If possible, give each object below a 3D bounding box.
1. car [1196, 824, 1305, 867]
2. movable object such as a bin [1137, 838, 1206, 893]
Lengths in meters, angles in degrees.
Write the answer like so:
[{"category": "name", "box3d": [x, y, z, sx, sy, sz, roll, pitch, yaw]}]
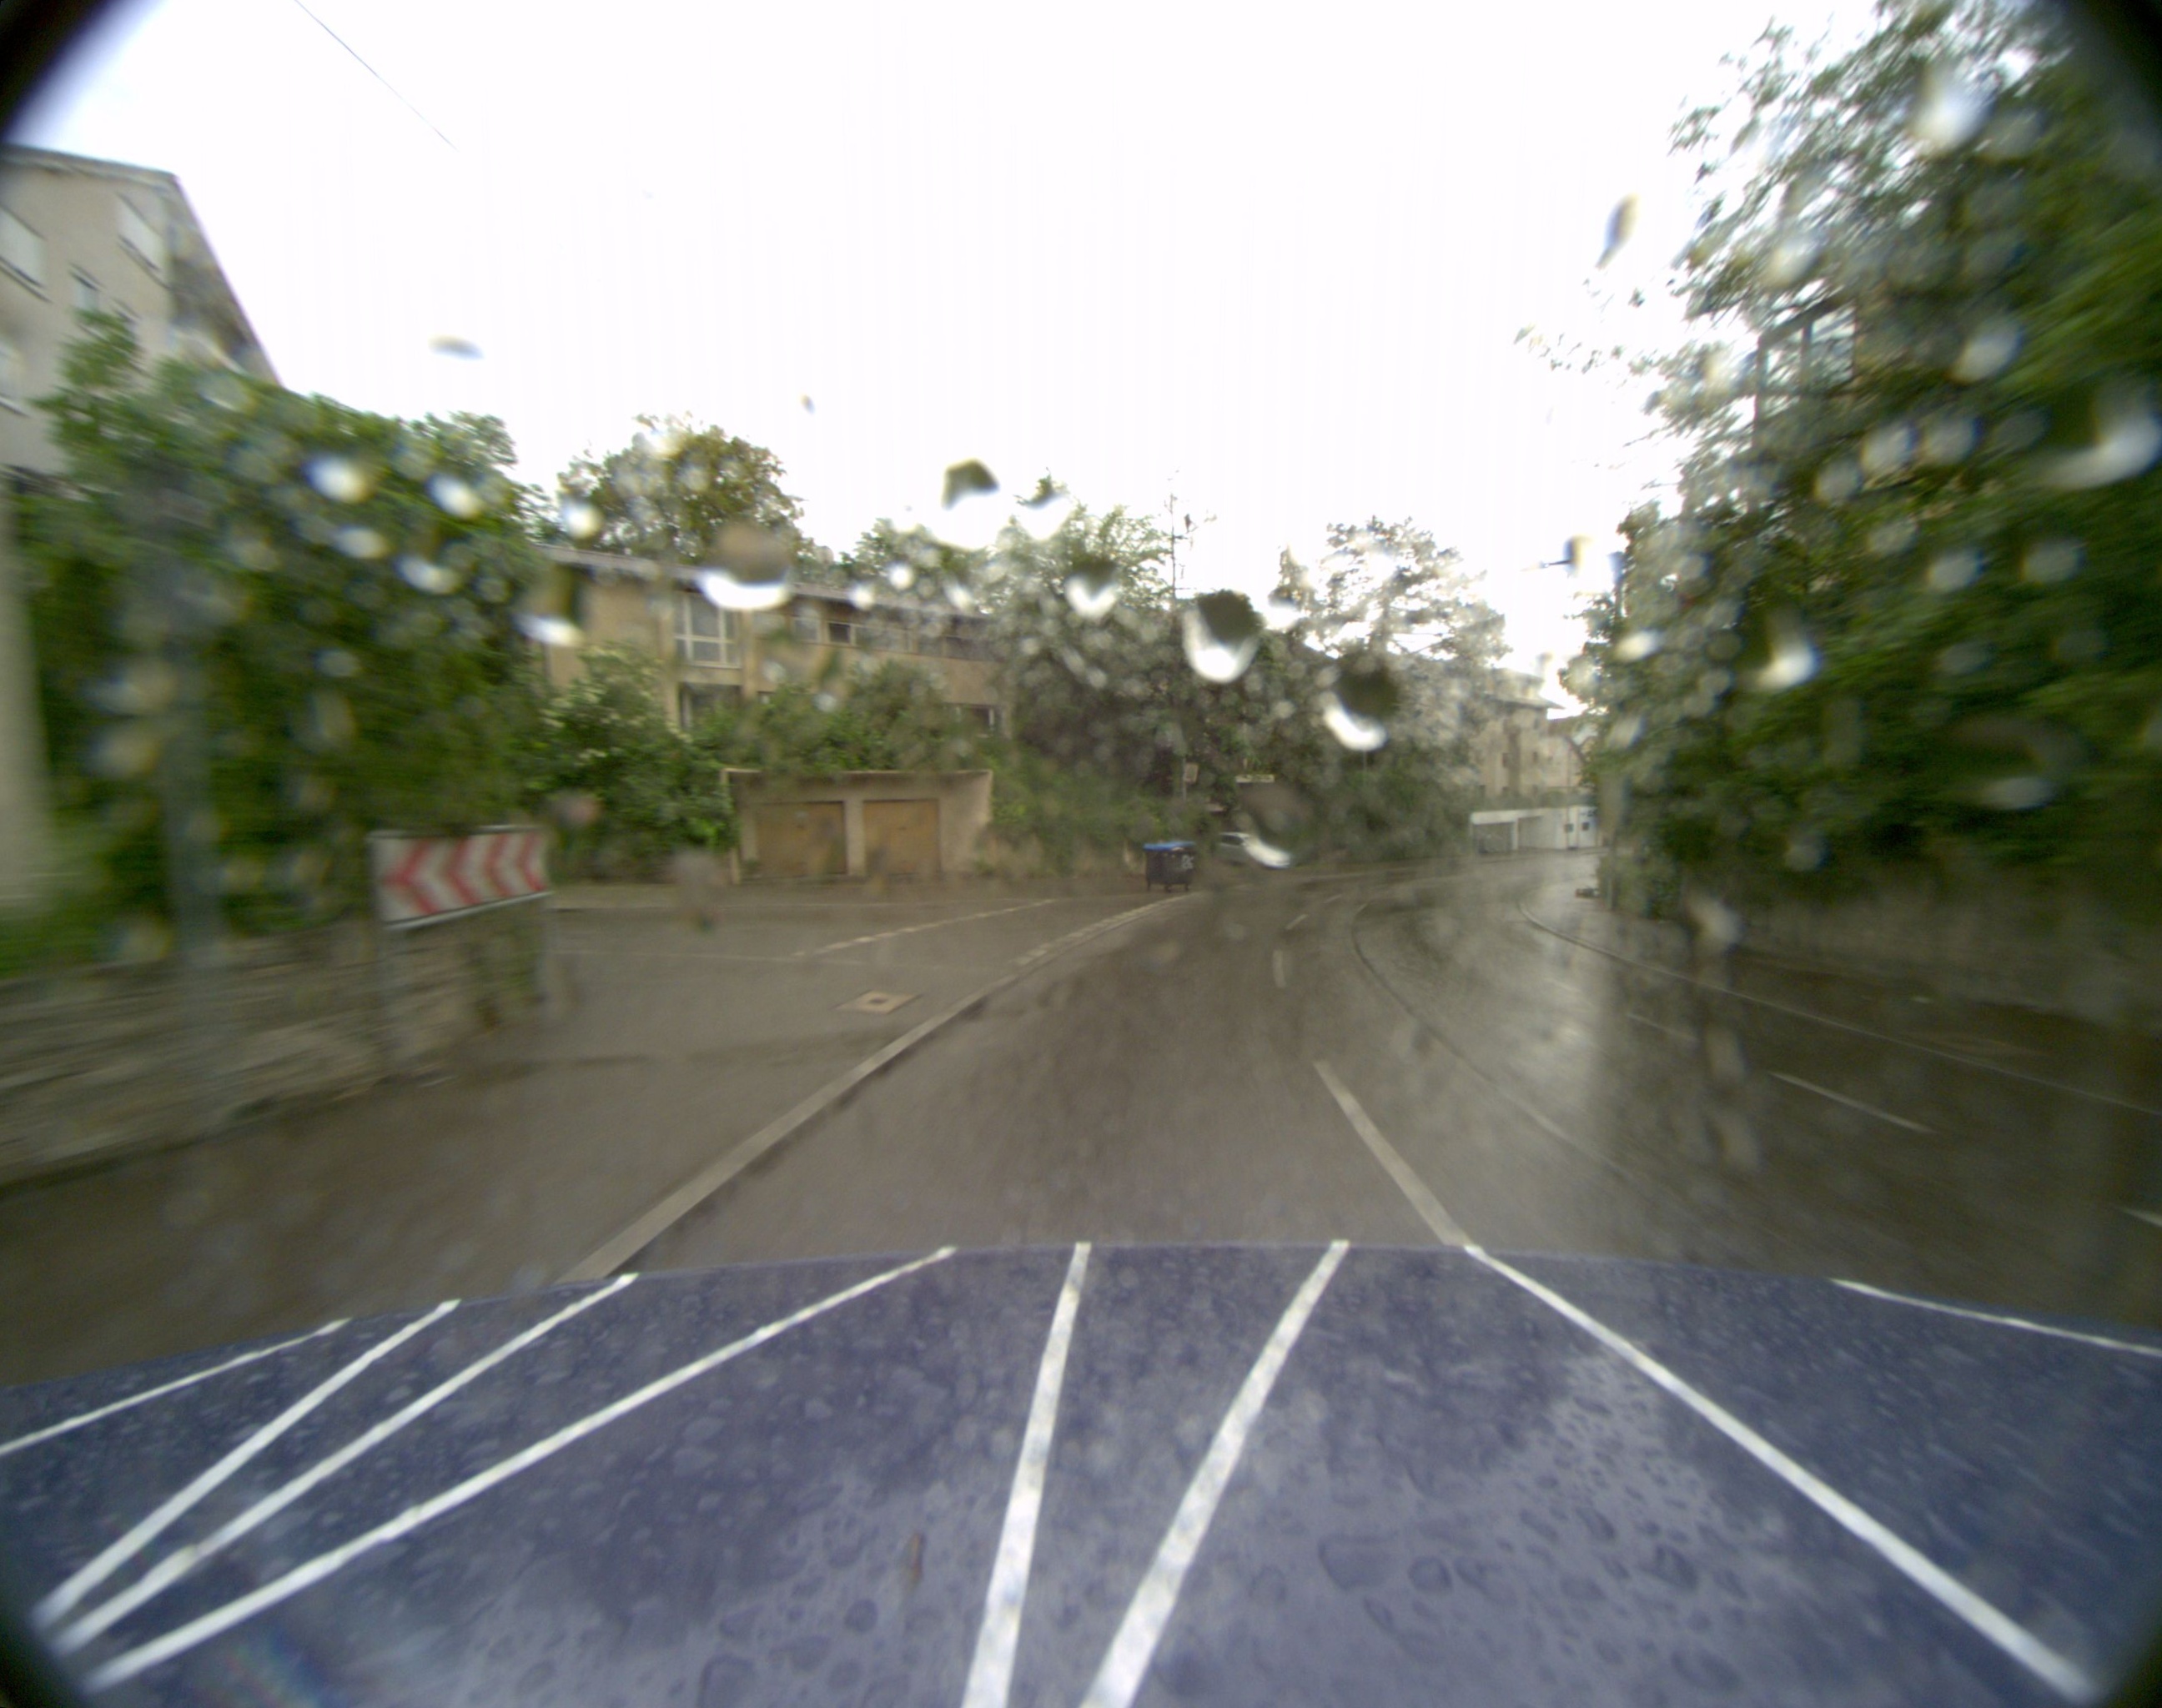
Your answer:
[{"category": "car", "box3d": [7.867, -0.430, 35.619, 2.004, 1.545, 4.548, -1, 7, -43]}, {"category": "movable object such as a bin", "box3d": [2.563, 0.310, 21.581, 1.488, 1.402, 1.155, 0, 6, -43]}]
